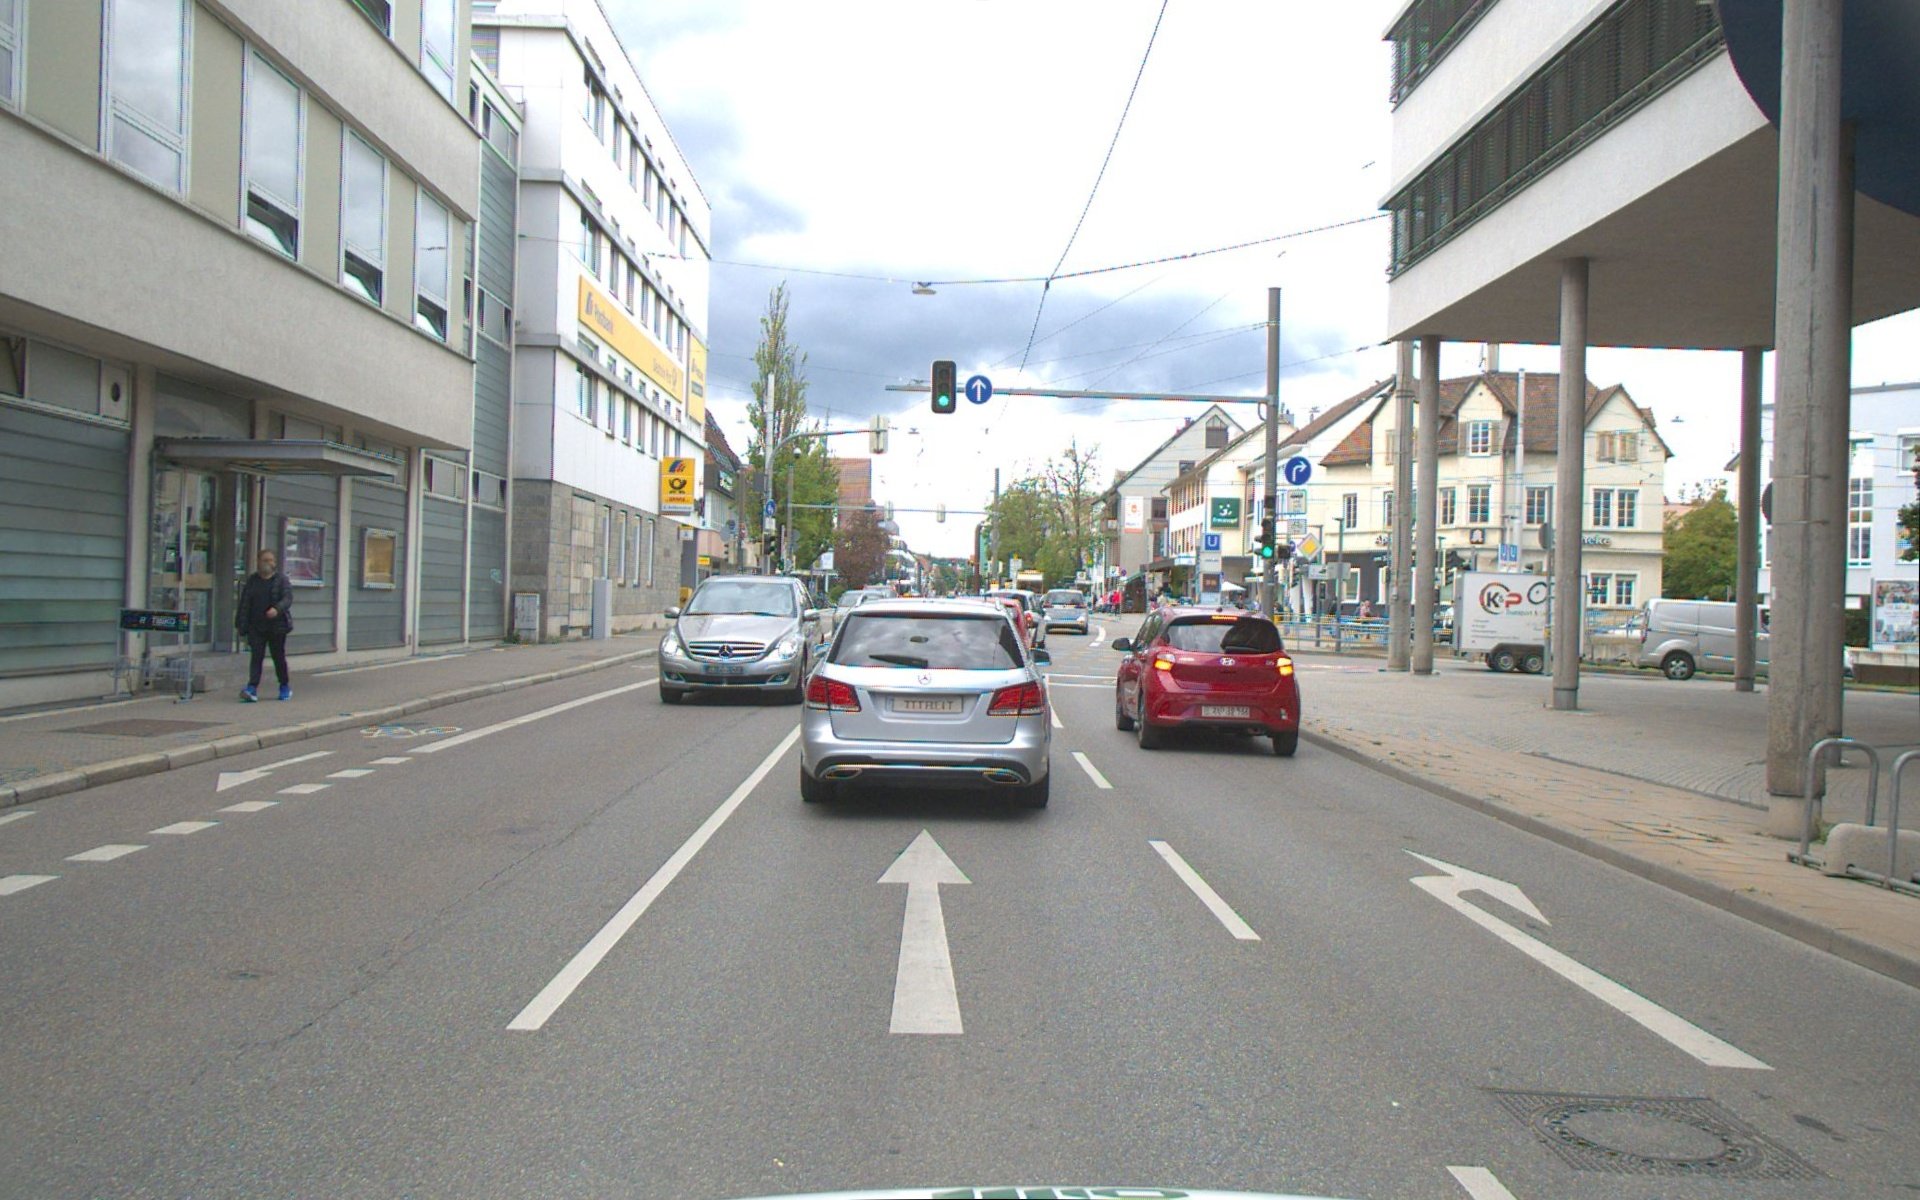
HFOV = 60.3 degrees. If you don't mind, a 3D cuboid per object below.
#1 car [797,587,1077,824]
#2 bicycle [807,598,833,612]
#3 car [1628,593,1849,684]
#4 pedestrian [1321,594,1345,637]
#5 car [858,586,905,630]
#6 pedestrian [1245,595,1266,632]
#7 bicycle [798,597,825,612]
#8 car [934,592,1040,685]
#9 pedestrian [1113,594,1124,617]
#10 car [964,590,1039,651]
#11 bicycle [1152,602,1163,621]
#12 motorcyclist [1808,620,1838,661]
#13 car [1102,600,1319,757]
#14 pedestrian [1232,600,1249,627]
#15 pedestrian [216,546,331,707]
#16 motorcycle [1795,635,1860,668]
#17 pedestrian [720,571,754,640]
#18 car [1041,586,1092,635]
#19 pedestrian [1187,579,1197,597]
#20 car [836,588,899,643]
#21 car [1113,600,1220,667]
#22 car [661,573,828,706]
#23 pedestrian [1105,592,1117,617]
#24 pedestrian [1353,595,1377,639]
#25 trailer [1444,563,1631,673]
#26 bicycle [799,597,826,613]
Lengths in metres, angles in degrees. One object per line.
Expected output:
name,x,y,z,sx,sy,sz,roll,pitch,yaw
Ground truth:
car,-0.248,0.684,12.928,1.809,1.534,4.169,1,0,-3
bicycle,-10.630,0.375,125.751,1.903,1.047,0.529,2,0,-11
car,19.175,0.936,40.843,4.795,1.979,1.882,2,-1,27
pedestrian,15.428,0.627,68.440,0.693,1.748,0.645,1,0,-25
car,-3.200,0.302,67.829,1.762,1.724,3.897,1,0,0
pedestrian,14.064,0.630,78.758,0.824,1.748,0.726,1,0,-4
bicycle,-11.013,0.359,122.419,1.903,1.047,0.529,2,0,-11
car,0.556,0.652,30.243,1.698,1.534,4.002,2,0,3
pedestrian,10.445,0.351,109.184,0.567,1.495,0.650,2,0,-6
car,1.070,0.518,44.566,1.699,1.534,3.998,1,0,-3
bicycle,12.025,0.700,100.790,0.438,1.127,2.149,1,0,0
motorcyclist,31.615,1.483,60.583,0.756,1.418,0.683,3,-1,-40
car,2.716,0.800,18.805,1.664,1.477,3.998,4,0,-2
pedestrian,17.217,0.807,101.443,0.631,1.619,0.892,2,0,-21
pedestrian,-7.796,0.288,18.828,0.844,1.748,1.031,3,0,-3
motorcycle,31.704,1.867,60.455,0.756,1.092,1.952,3,-1,-40
pedestrian,-5.774,0.135,42.808,0.634,1.748,0.783,3,0,6
car,4.059,0.377,63.516,1.698,1.790,4.000,1,0,0
pedestrian,16.348,-0.873,116.518,0.522,1.240,0.579,2,0,-3
car,-2.639,0.420,47.926,1.623,1.492,3.920,1,0,0
car,4.907,0.740,38.868,1.698,1.435,4.001,1,1,19
car,-2.910,0.492,23.262,1.740,1.660,4.767,1,0,0
pedestrian,10.250,0.291,112.376,0.568,1.695,0.649,2,0,-13
pedestrian,16.629,0.693,67.967,0.635,1.748,0.788,3,1,-6
trailer,14.776,0.447,42.505,4.217,2.659,1.885,1,0,9
bicycle,-10.869,0.365,121.762,1.903,1.047,0.529,2,0,-11
